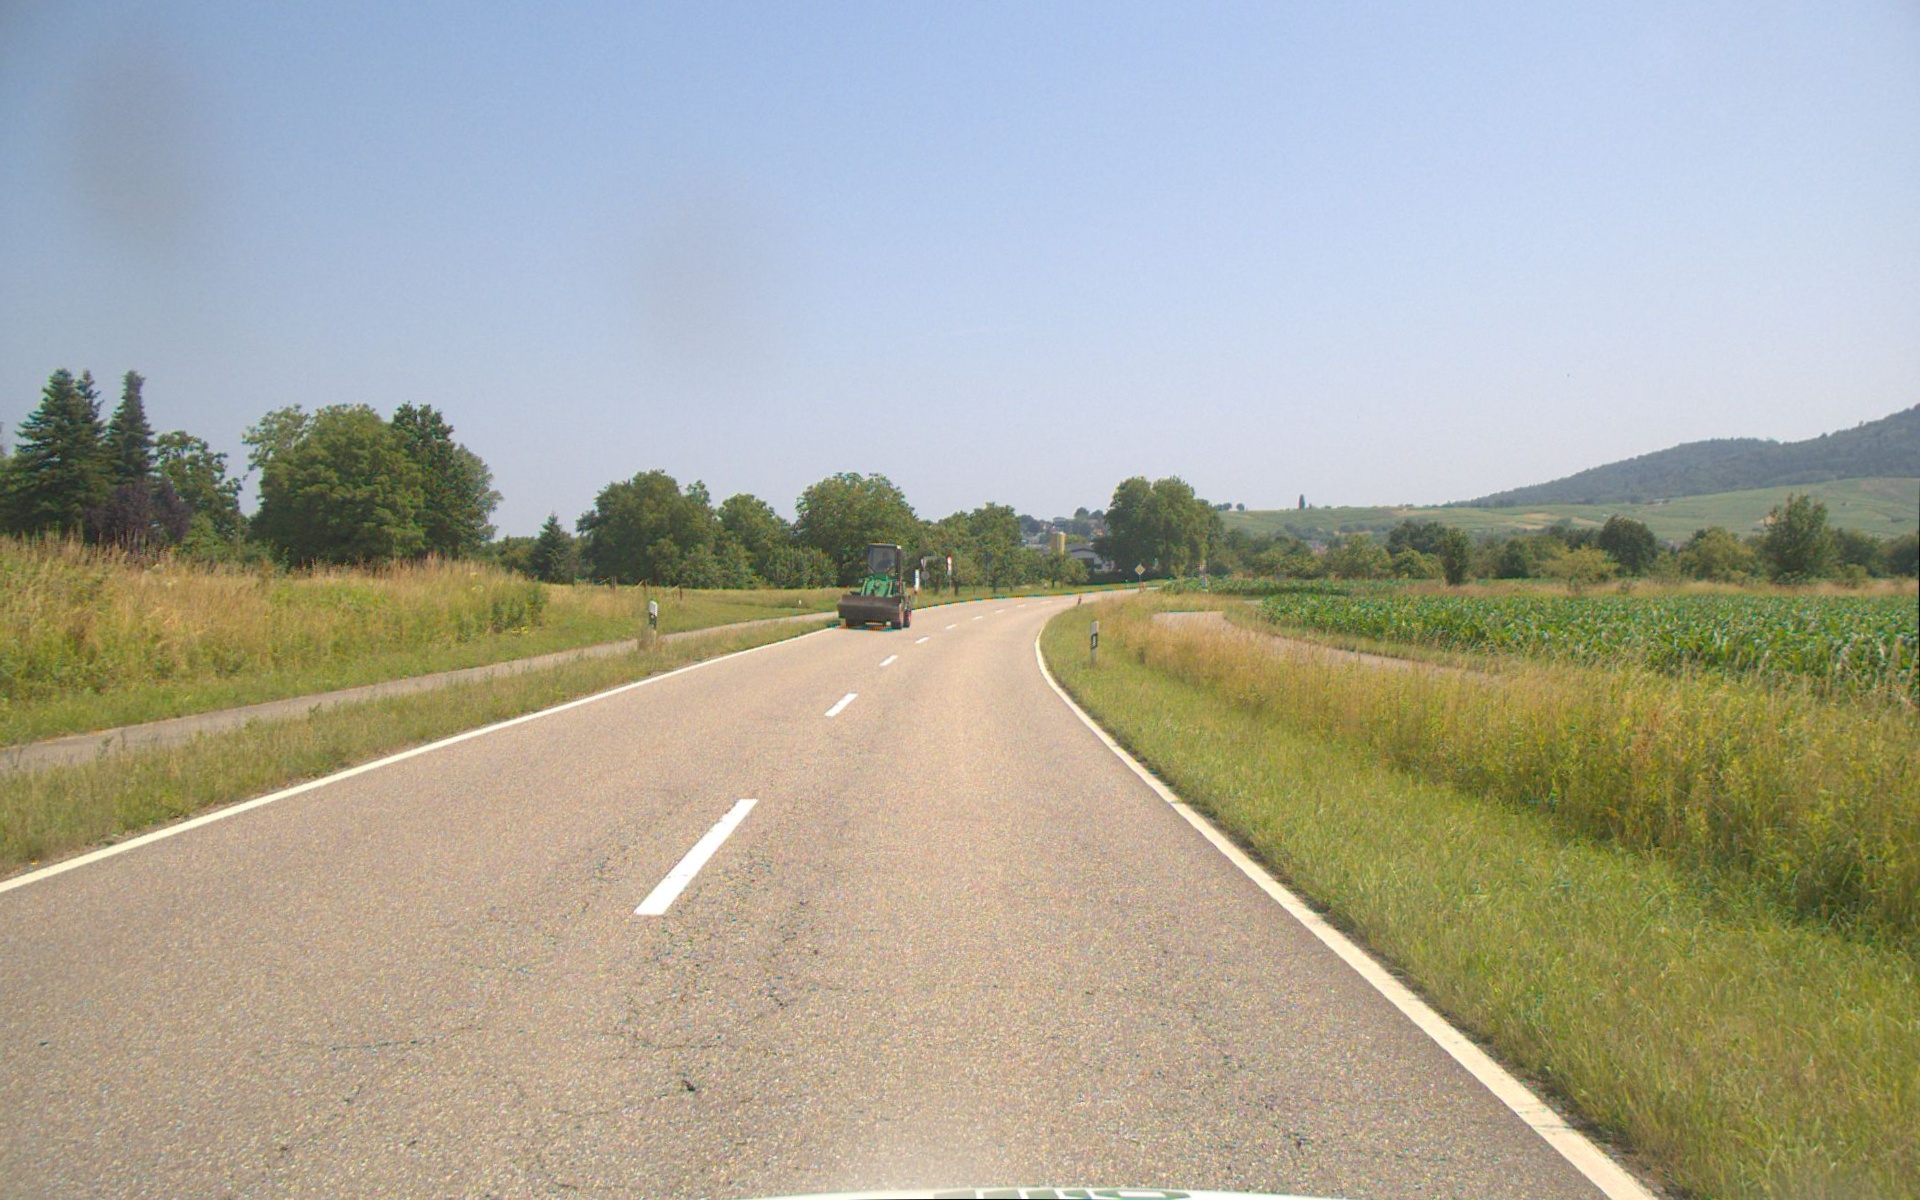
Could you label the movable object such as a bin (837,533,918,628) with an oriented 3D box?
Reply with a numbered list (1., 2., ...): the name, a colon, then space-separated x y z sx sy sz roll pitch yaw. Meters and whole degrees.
1. movable object such as a bin: -2.574 -0.632 52.769 1.959 2.802 5.232 2 1 3
